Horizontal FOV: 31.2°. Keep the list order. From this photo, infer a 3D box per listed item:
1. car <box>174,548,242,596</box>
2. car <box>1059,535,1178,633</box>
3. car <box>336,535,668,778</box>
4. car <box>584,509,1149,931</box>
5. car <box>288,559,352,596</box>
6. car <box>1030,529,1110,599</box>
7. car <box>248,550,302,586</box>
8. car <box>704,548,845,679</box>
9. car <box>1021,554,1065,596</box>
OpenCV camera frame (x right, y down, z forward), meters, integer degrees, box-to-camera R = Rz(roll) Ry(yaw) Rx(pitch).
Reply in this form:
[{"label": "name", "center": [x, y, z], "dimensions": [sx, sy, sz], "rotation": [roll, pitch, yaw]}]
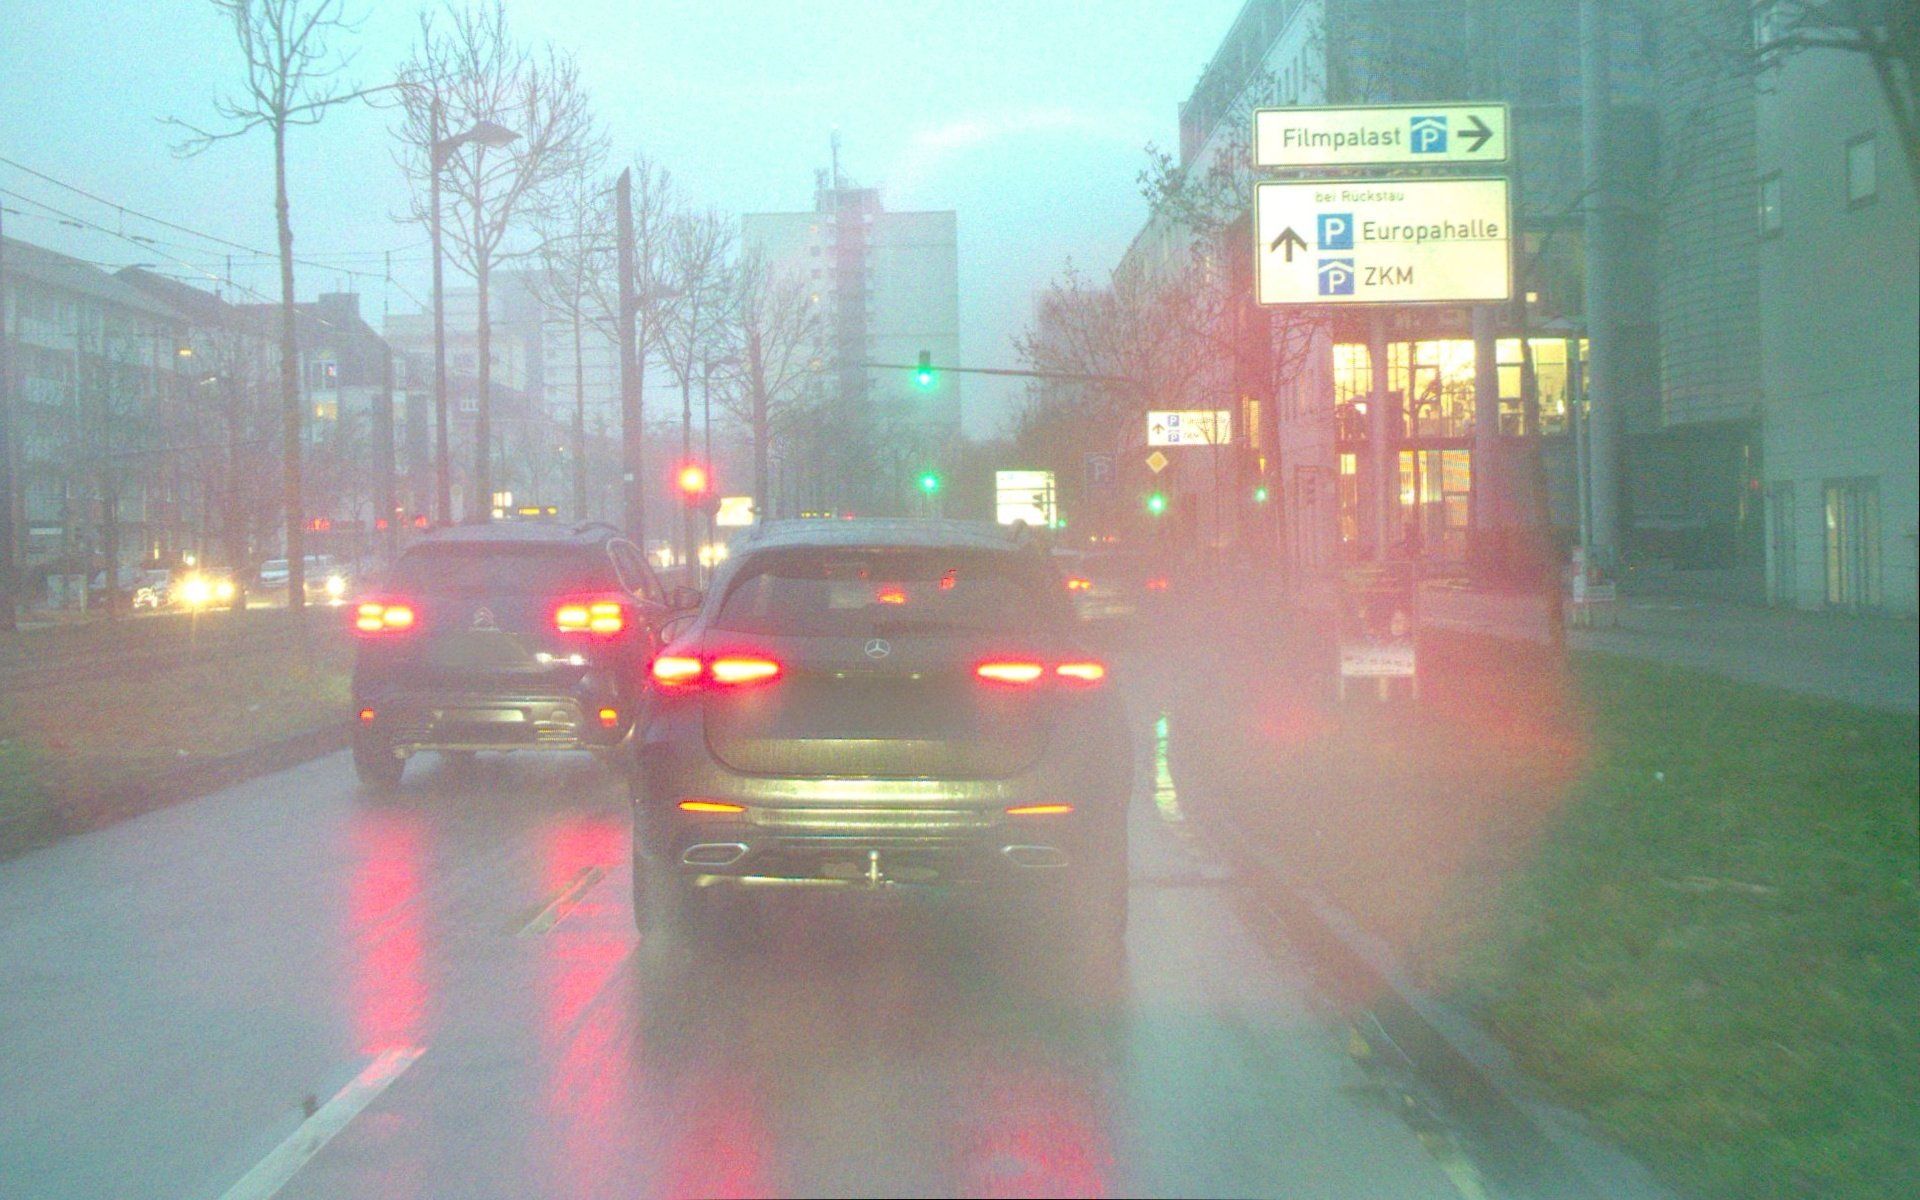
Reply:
[{"label": "car", "center": [-26.273, -0.993, 120.152], "dimensions": [1.613, 1.617, 3.509], "rotation": [1, 1, 0]}, {"label": "car", "center": [2.599, -0.291, 56.397], "dimensions": [1.867, 1.537, 3.610], "rotation": [1, 1, 2]}, {"label": "car", "center": [-2.947, 0.307, 22.856], "dimensions": [1.817, 1.445, 4.001], "rotation": [1, 1, -2]}, {"label": "car", "center": [-0.355, 0.401, 14.081], "dimensions": [1.993, 1.478, 3.700], "rotation": [1, 1, -1]}, {"label": "car", "center": [-26.958, -0.955, 144.963], "dimensions": [1.880, 1.497, 4.791], "rotation": [1, 1, -1]}, {"label": "car", "center": [2.413, -0.804, 76.109], "dimensions": [1.623, 1.493, 3.526], "rotation": [1, 1, 0]}, {"label": "car", "center": [-31.393, -1.473, 157.618], "dimensions": [1.932, 1.591, 3.728], "rotation": [1, 1, -4]}, {"label": "car", "center": [-2.410, 0.143, 45.214], "dimensions": [1.689, 1.629, 3.474], "rotation": [1, 1, -1]}, {"label": "car", "center": [3.260, -0.984, 134.016], "dimensions": [1.615, 1.566, 3.351], "rotation": [1, 1, 3]}]
